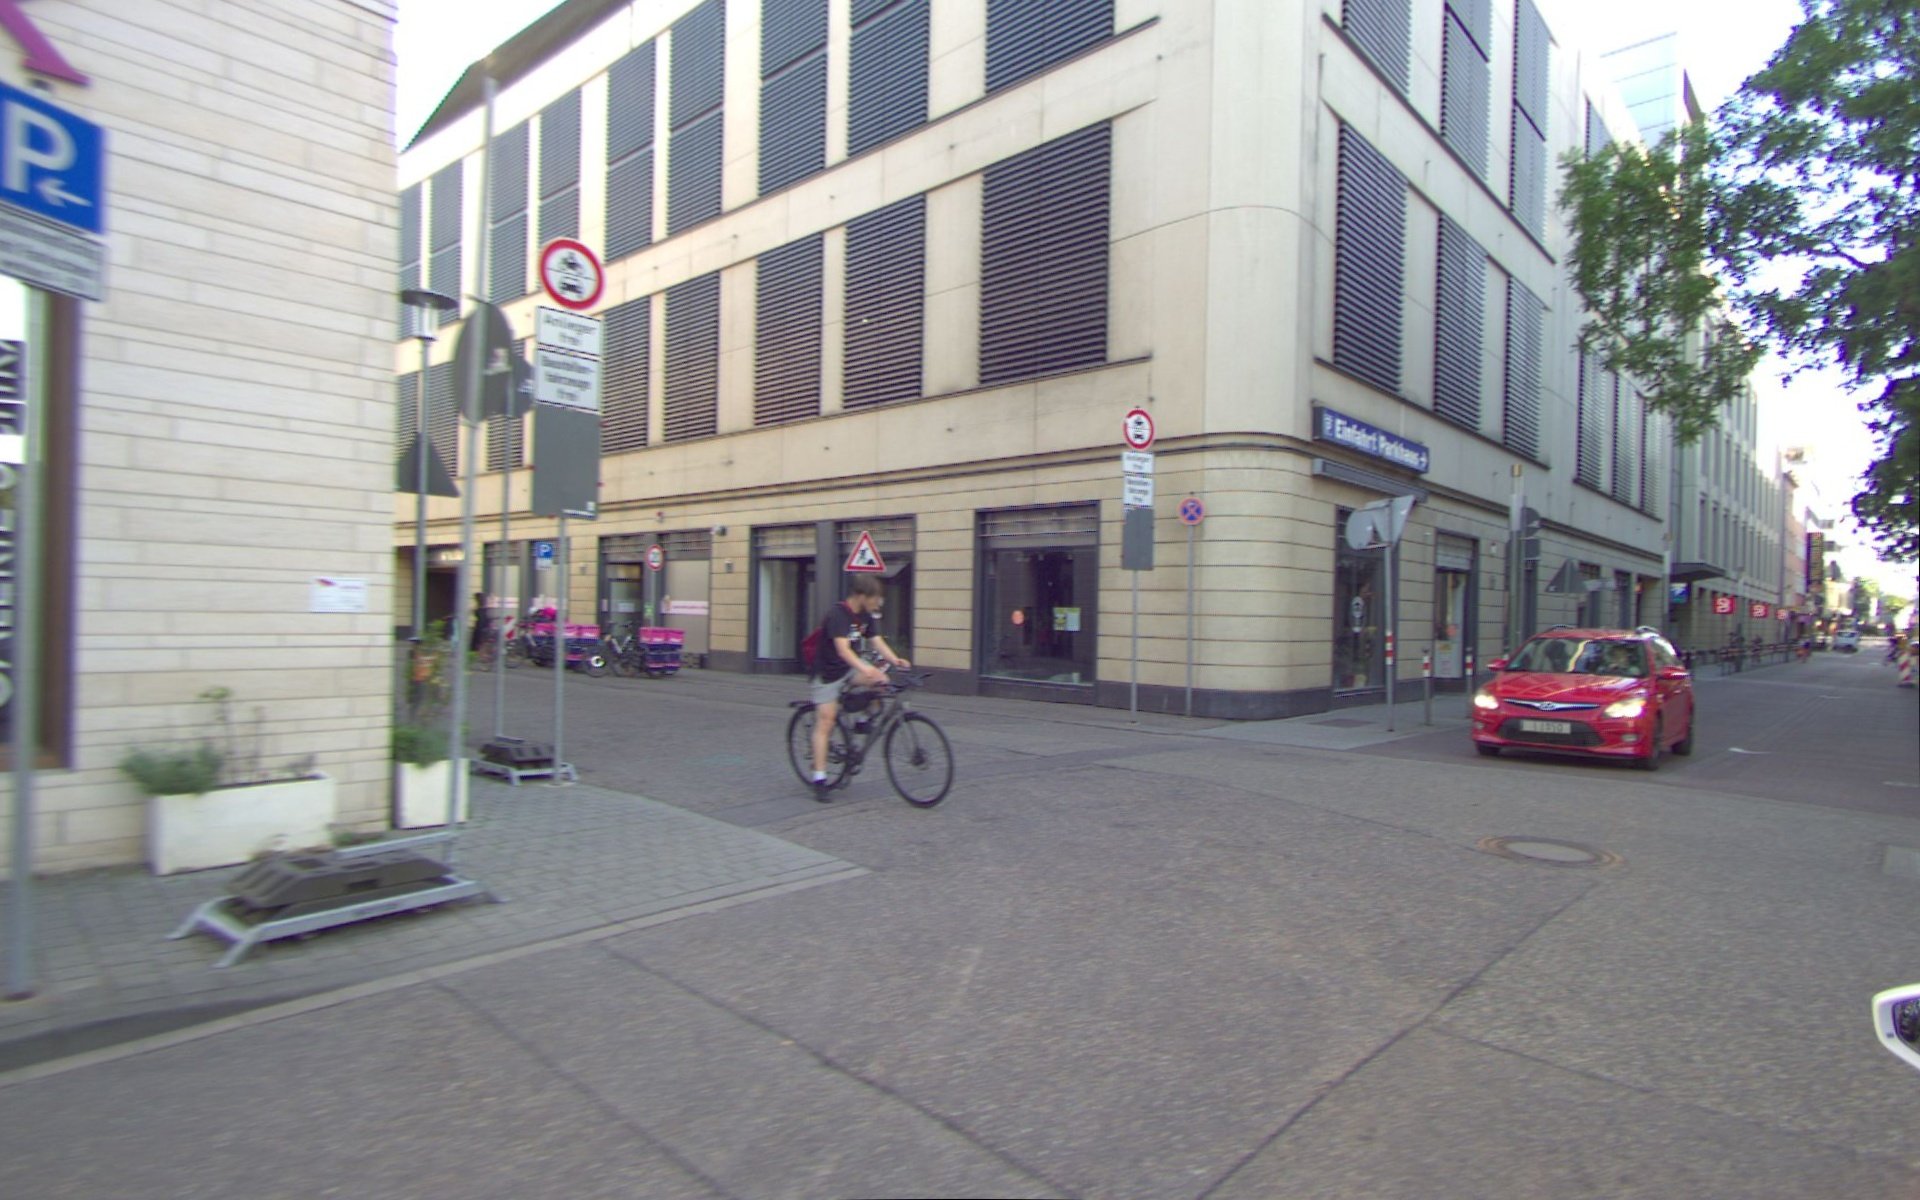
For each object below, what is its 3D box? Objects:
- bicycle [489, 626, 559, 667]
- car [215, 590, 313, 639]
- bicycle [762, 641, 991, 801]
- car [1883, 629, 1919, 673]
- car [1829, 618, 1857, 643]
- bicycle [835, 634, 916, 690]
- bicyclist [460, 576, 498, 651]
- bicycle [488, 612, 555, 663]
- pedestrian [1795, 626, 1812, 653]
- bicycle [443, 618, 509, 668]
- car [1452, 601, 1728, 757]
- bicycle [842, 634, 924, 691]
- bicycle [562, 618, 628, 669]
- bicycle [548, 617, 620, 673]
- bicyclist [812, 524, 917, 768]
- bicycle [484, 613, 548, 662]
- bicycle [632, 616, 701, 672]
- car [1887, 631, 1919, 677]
[{"bbox_3d":[-10.637,1.129,24.537,1.508,0.965,0.348,2,0,-42],"label":"bicycle"},{"bbox_3d":[-26.871,0.549,38.739,3.940,1.684,2.167,2,0,41],"label":"car"},{"bbox_3d":[-0.664,0.849,7.541,1.790,0.986,0.509,2,0,36],"label":"bicycle"},{"bbox_3d":[35.176,1.712,34.546,4.950,1.519,1.989,-4,-4,42],"label":"car"},{"bbox_3d":[88.944,3.074,101.174,1.971,2.360,4.995,3,1,41],"label":"car"},{"bbox_3d":[-1.606,1.169,19.176,1.499,1.047,0.350,1,0,-26],"label":"bicycle"},{"bbox_3d":[-10.785,0.299,22.512,0.622,1.647,0.496,2,0,40],"label":"bicyclist"},{"bbox_3d":[-11.163,0.964,25.585,1.506,1.266,0.349,2,0,-39],"label":"bicycle"},{"bbox_3d":[51.264,2.403,61.063,0.724,1.595,0.632,2,0,45],"label":"pedestrian"},{"bbox_3d":[-10.913,0.959,22.601,2.077,1.008,0.516,2,0,40],"label":"bicycle"},{"bbox_3d":[7.530,0.867,11.826,4.236,1.484,1.804,4,-2,-44],"label":"car"},{"bbox_3d":[-1.438,1.157,18.829,1.499,1.047,0.350,1,0,-26],"label":"bicycle"},{"bbox_3d":[-9.332,1.118,25.696,1.501,1.266,0.350,2,0,-30],"label":"bicycle"},{"bbox_3d":[-8.773,1.053,23.430,1.501,1.266,0.350,2,0,-30],"label":"bicycle"},{"bbox_3d":[-0.719,0.331,7.599,0.543,1.755,0.500,2,0,36],"label":"bicyclist"},{"bbox_3d":[-11.858,1.006,26.856,1.504,1.266,0.349,2,0,-35],"label":"bicycle"},{"bbox_3d":[-6.879,1.027,23.586,1.508,1.266,0.348,2,0,-43],"label":"bicycle"},{"bbox_3d":[33.533,1.704,32.612,4.950,1.519,1.989,-4,-4,42],"label":"car"}]
